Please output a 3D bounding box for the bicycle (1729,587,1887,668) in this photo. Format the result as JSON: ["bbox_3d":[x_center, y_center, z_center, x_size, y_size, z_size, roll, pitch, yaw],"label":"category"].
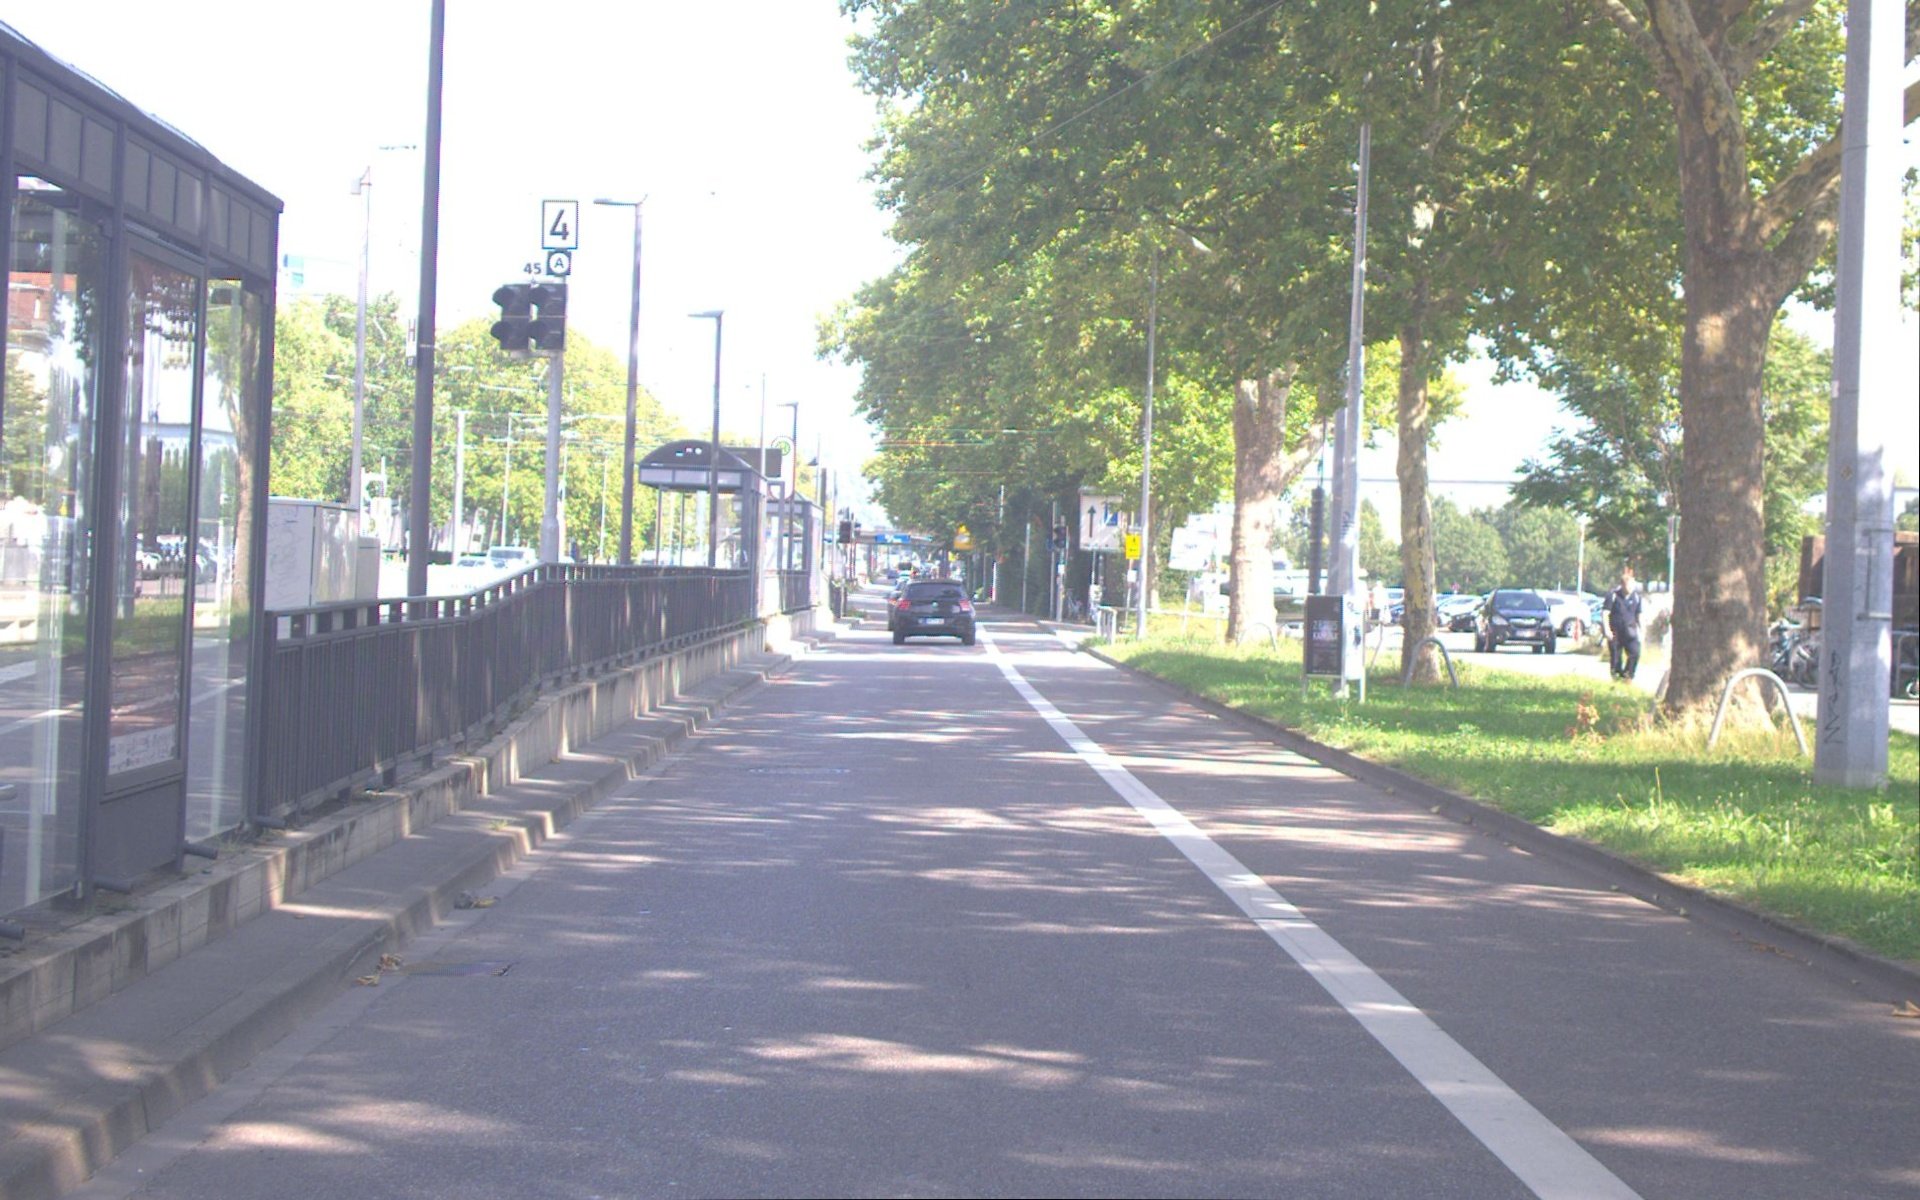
[{"bbox_3d":[13.390,0.432,54.329,2.244,1.273,0.999,0,-1,-1],"label":"bicycle"}]

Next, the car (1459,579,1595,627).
[{"bbox_3d":[19.929,0.099,120.923,4.343,1.459,1.947,3,0,-2],"label":"car"}]

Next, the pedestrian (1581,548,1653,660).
[{"bbox_3d":[9.066,0.048,47.436,0.783,1.510,0.787,2,1,-1],"label":"pedestrian"}]

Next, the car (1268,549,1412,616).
[{"bbox_3d":[11.289,-0.523,102.264,4.103,1.912,1.847,1,1,2],"label":"car"}]

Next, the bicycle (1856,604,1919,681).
[{"bbox_3d":[13.153,0.597,46.427,1.867,1.003,0.735,2,0,-2],"label":"bicycle"}]

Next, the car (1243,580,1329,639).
[{"bbox_3d":[8.402,0.226,88.918,1.728,1.444,4.551,1,1,-1],"label":"car"}]

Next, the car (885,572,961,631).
[{"bbox_3d":[-1.024,0.017,94.250,1.973,1.532,4.000,-1,1,-2],"label":"car"}]

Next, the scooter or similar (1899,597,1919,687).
[{"bbox_3d":[13.251,0.557,45.497,1.506,1.187,0.538,1,0,3],"label":"scooter or similar"}]

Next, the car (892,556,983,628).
[{"bbox_3d":[-0.517,-0.193,75.089,1.907,1.532,4.000,0,1,-2],"label":"car"}]

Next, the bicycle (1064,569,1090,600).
[{"bbox_3d":[4.001,-0.523,117.731,0.610,1.018,2.403,2,1,-5],"label":"bicycle"}]

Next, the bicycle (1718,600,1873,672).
[{"bbox_3d":[12.640,0.541,52.040,2.173,1.073,0.743,0,0,3],"label":"bicycle"}]

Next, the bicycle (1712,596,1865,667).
[{"bbox_3d":[12.719,0.479,52.826,2.173,1.073,0.743,0,0,3],"label":"bicycle"}]

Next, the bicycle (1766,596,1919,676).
[{"bbox_3d":[12.869,0.526,49.800,2.173,1.073,0.743,2,0,-2],"label":"bicycle"}]

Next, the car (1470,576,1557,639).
[{"bbox_3d":[14.490,0.179,90.161,1.607,1.570,3.796,1,1,-1],"label":"car"}]
